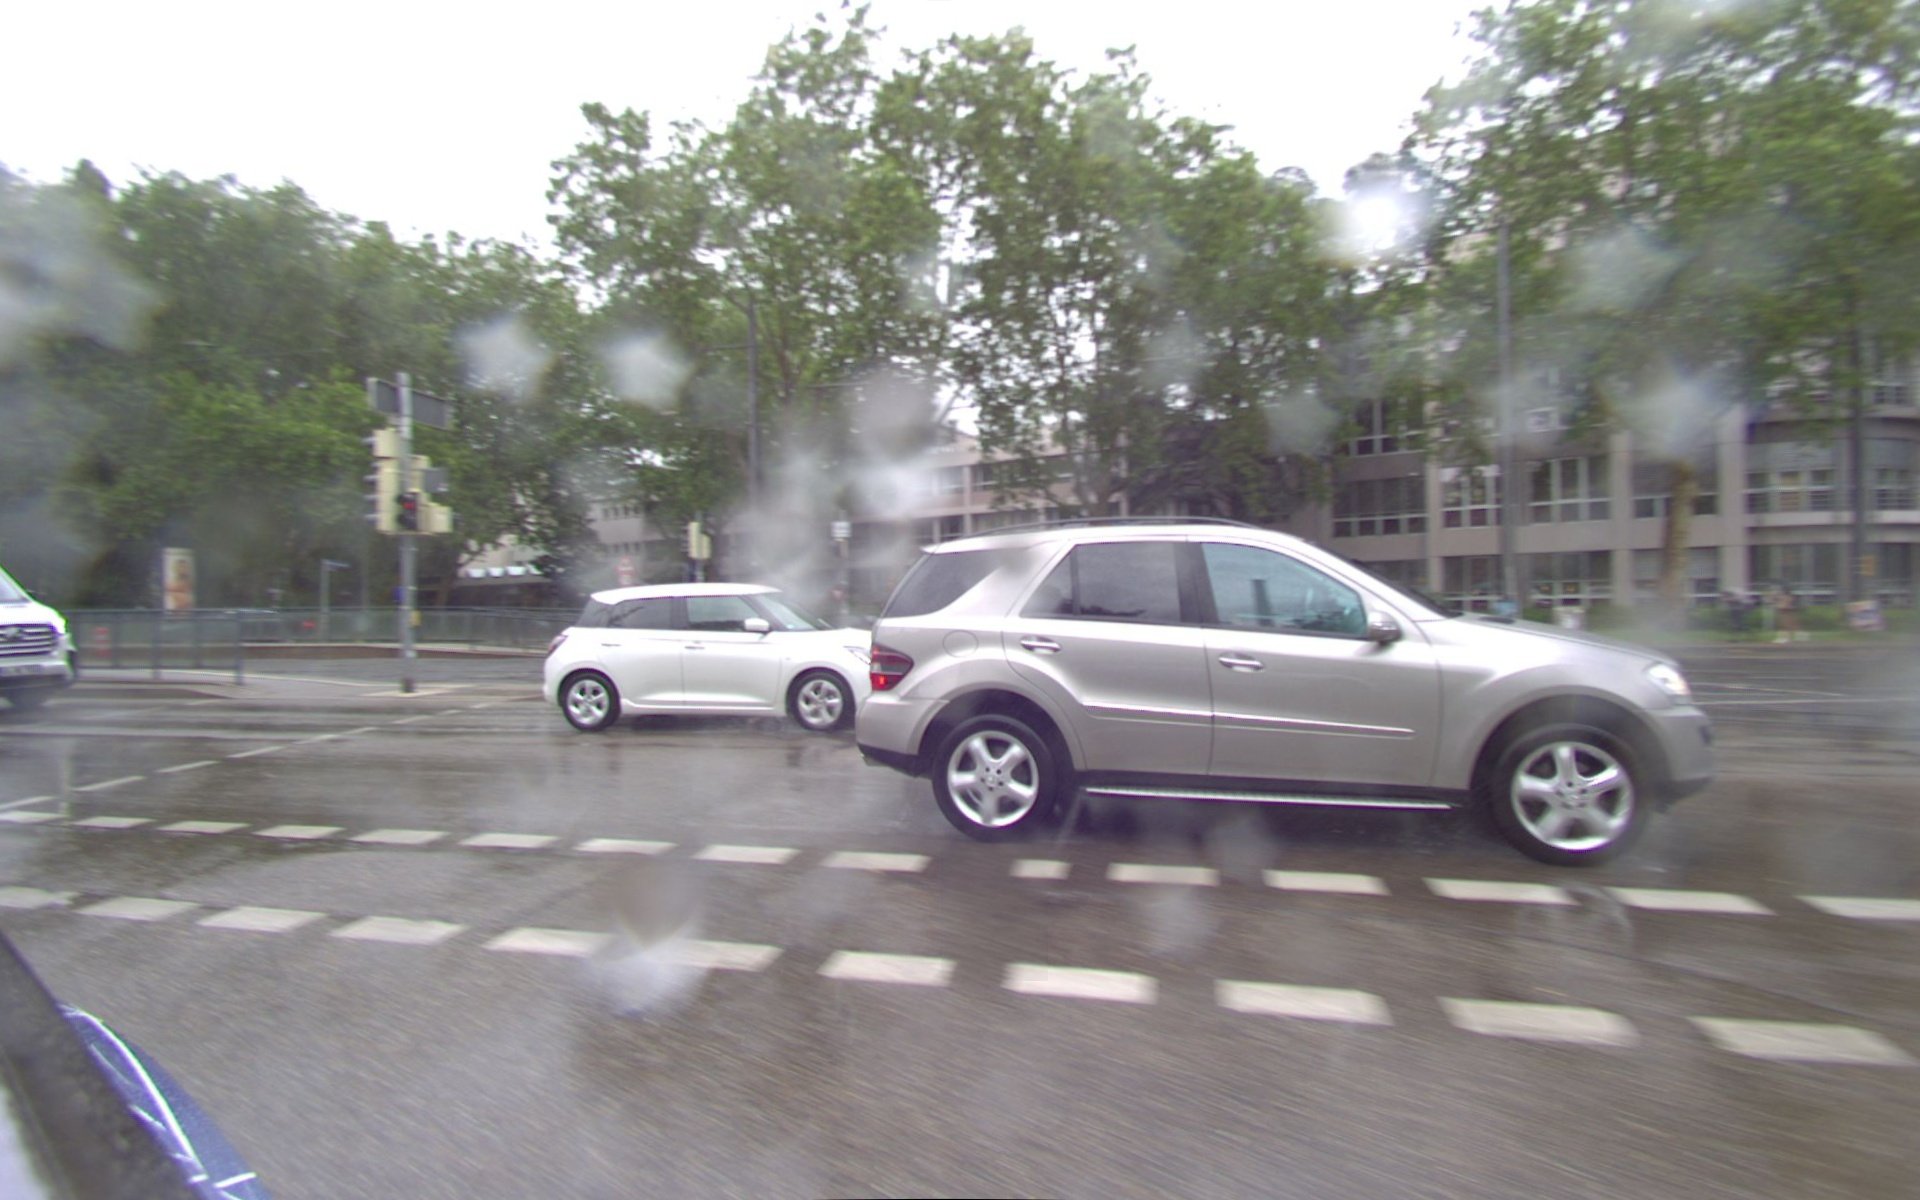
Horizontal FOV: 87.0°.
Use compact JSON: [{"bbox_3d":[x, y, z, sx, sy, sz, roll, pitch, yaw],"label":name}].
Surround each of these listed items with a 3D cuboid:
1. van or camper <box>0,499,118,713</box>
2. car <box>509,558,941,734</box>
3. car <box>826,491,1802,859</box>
[{"bbox_3d":[-14.009,0.141,12.565,5.905,2.489,2.175,-2,0,10],"label":"van or camper"},{"bbox_3d":[-2.341,0.459,10.628,4.026,1.599,1.803,-2,0,9],"label":"car"},{"bbox_3d":[1.731,0.380,6.034,4.633,1.659,1.906,-2,1,13],"label":"car"}]
